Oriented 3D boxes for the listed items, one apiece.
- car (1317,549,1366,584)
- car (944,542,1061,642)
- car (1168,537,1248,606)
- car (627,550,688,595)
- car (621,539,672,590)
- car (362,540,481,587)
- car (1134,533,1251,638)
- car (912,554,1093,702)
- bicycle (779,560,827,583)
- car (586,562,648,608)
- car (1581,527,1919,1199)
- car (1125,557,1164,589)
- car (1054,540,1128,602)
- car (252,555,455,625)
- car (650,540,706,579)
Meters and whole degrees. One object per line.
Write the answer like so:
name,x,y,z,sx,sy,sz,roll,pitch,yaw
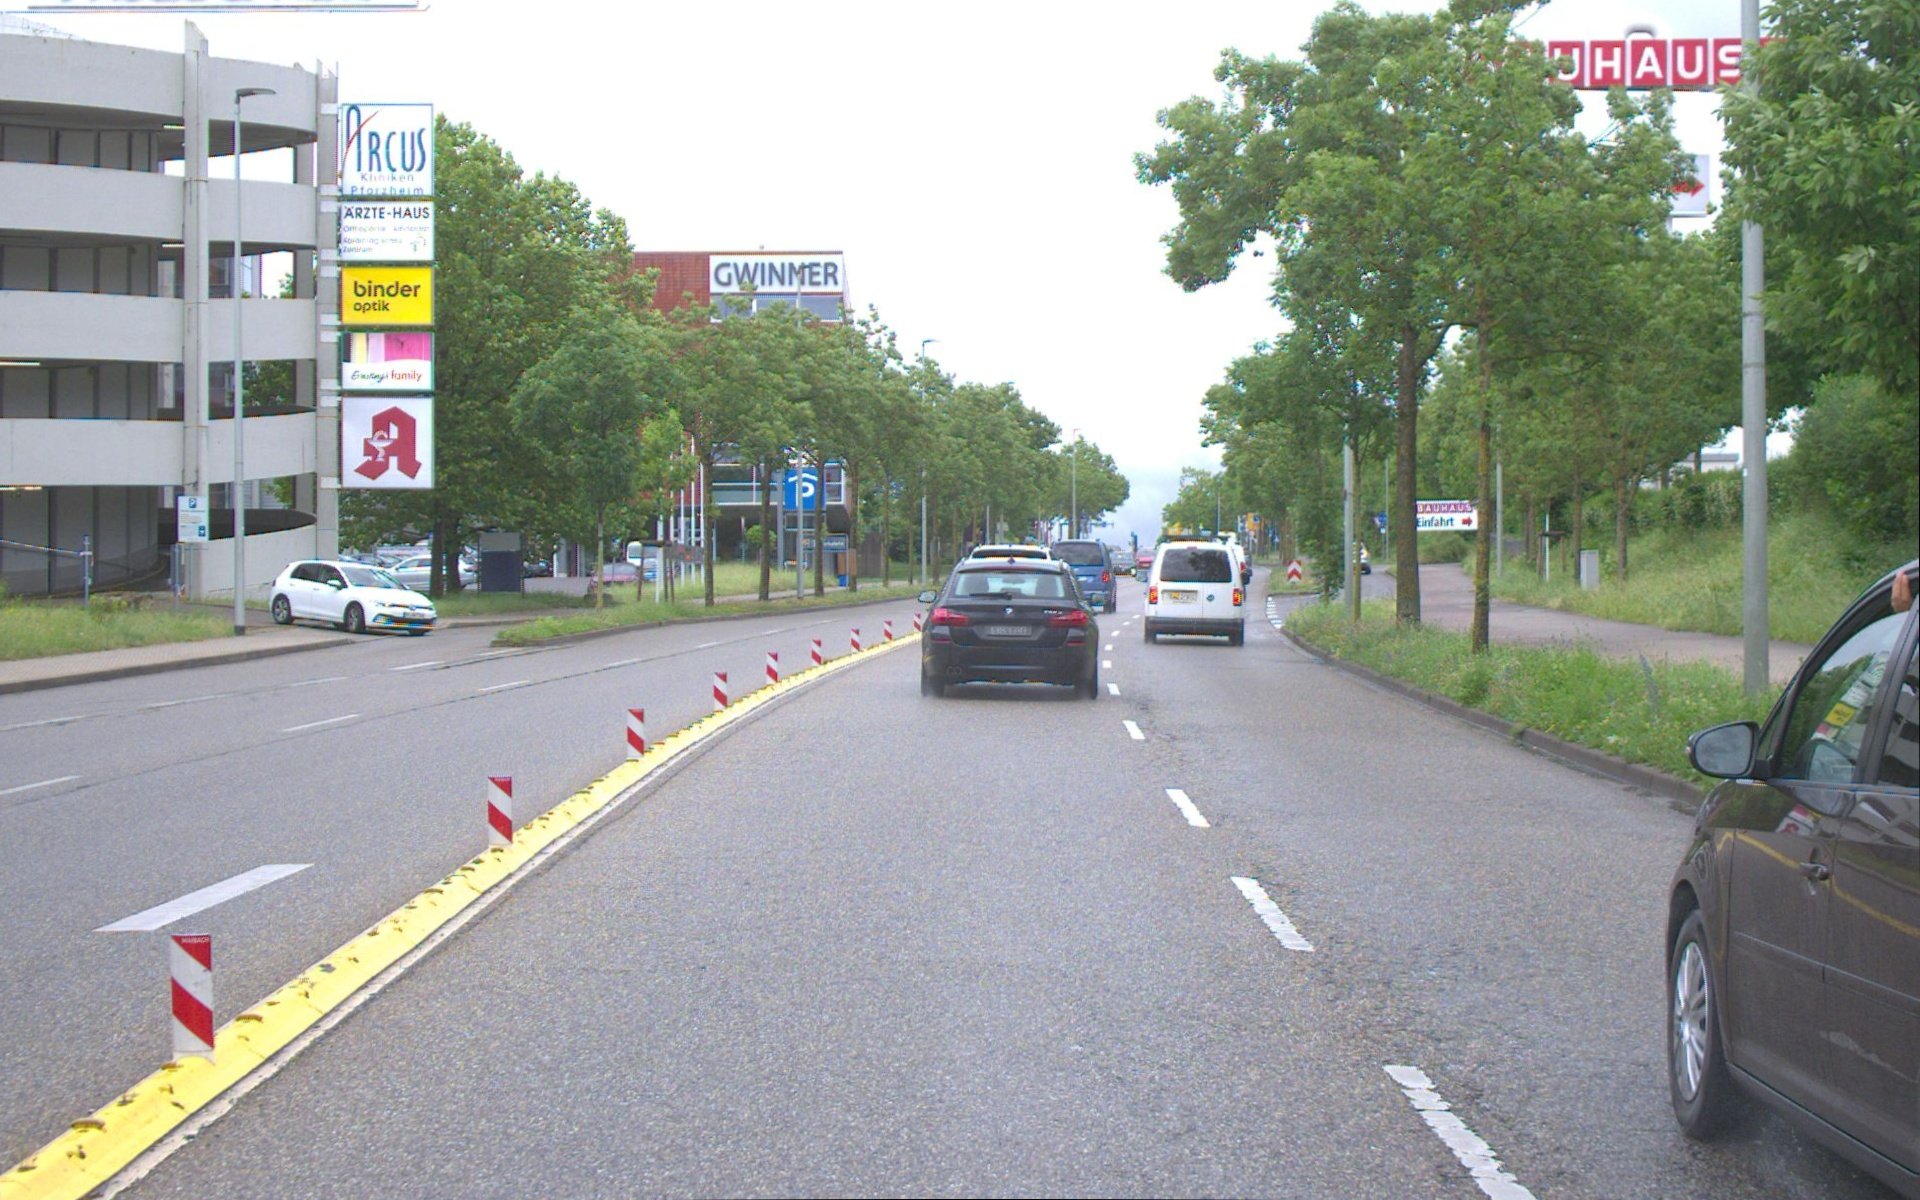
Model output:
car,17.377,-1.497,156.744,1.794,1.505,4.000,2,0,1
car,0.697,-0.134,56.337,1.794,1.505,4.000,2,0,1
car,5.836,-0.655,81.085,1.794,1.505,3.999,2,0,4
car,-13.089,-1.204,149.122,2.039,1.756,4.946,1,2,2
car,-14.098,-1.626,154.897,2.113,2.088,5.123,1,2,-4
car,-21.898,-1.485,139.962,4.598,1.740,1.967,1,2,-3
car,4.109,-0.282,61.265,1.827,1.753,4.000,2,1,1
car,0.467,0.254,36.881,1.827,1.463,4.000,0,1,1
bicycle,-7.652,-1.394,167.608,2.077,0.932,1.093,5,1,9
car,-13.402,-0.587,134.696,1.933,1.603,4.712,1,2,0
car,2.674,0.657,7.579,1.685,1.575,4.219,2,1,-2
car,9.121,-1.308,170.201,1.794,1.505,4.000,2,0,1
car,3.361,-0.736,88.262,1.794,1.505,4.000,2,0,2
car,-12.848,-0.217,72.704,4.420,1.403,1.901,0,2,42
car,-13.926,-2.029,170.038,2.138,1.767,4.608,1,2,3
